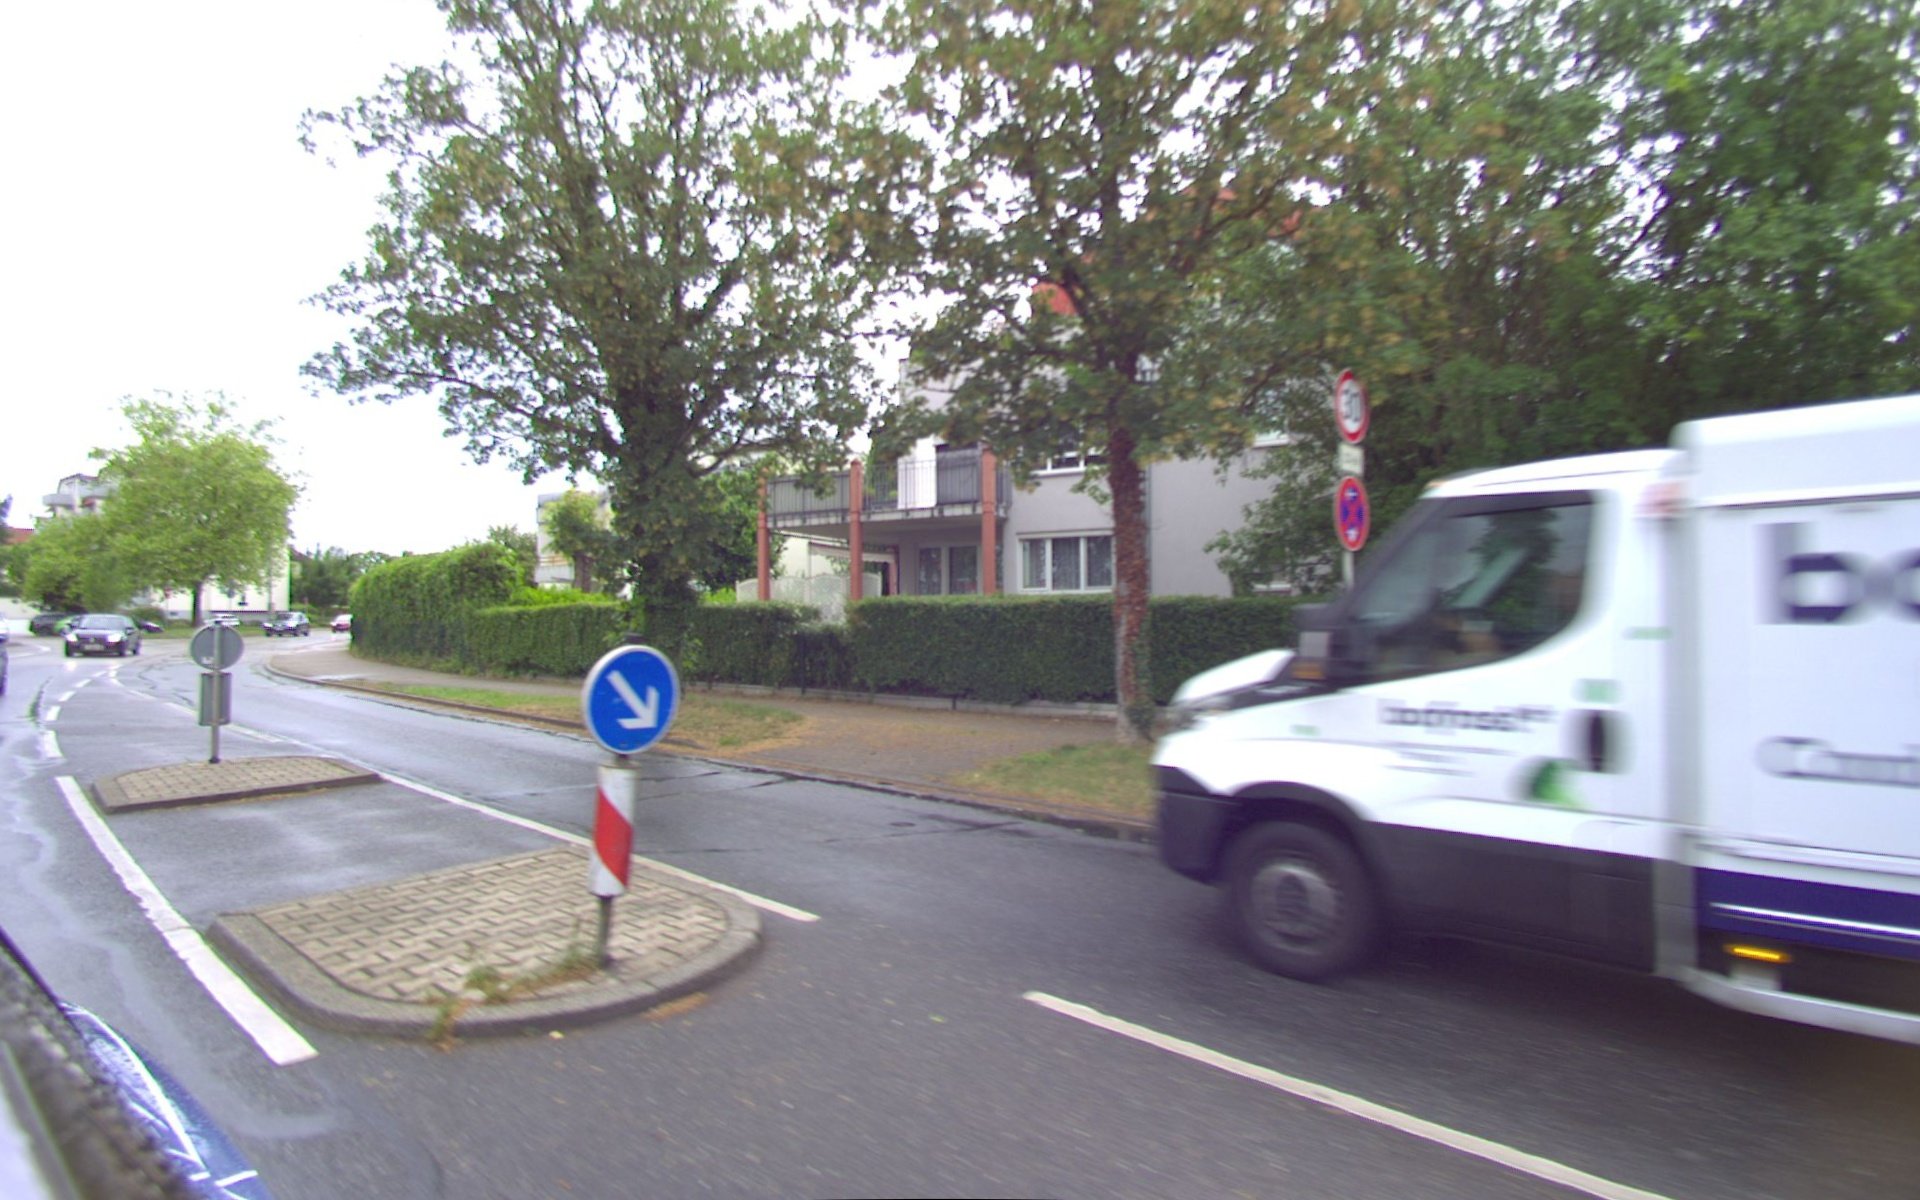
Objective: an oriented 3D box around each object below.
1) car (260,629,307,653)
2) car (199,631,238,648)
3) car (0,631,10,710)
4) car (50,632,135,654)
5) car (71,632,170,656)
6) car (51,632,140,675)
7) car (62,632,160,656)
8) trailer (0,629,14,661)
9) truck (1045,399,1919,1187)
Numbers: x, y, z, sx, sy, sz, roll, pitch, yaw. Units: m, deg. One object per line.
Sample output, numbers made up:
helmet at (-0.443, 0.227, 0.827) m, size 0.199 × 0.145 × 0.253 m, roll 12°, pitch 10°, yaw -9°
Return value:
car at (-45.814, 2.771, 68.600) m, size 1.810 × 1.562 × 4.013 m, roll 1°, pitch -2°, yaw -22°
car at (-69.669, 3.718, 95.092) m, size 3.759 × 1.492 × 1.726 m, roll -1°, pitch -3°, yaw 34°
car at (-17.623, 1.230, 17.111) m, size 1.884 × 1.444 × 4.309 m, roll 2°, pitch -3°, yaw -39°
car at (-57.984, 2.889, 67.728) m, size 3.953 × 1.454 × 1.770 m, roll 2°, pitch -3°, yaw -25°
car at (-53.038, 2.782, 64.046) m, size 4.508 × 1.454 × 1.770 m, roll 2°, pitch -3°, yaw -25°
car at (-31.299, 1.893, 36.759) m, size 1.810 × 1.460 × 4.011 m, roll 1°, pitch -2°, yaw -31°
car at (-55.147, 2.865, 65.817) m, size 4.508 × 1.454 × 1.770 m, roll 2°, pitch -3°, yaw -25°
trailer at (-48.599, 2.207, 49.949) m, size 4.418 × 1.555 × 1.975 m, roll -1°, pitch -3°, yaw 37°
truck at (3.523, 0.554, 3.600) m, size 6.464 × 2.220 × 2.193 m, roll -2°, pitch -2°, yaw 43°
